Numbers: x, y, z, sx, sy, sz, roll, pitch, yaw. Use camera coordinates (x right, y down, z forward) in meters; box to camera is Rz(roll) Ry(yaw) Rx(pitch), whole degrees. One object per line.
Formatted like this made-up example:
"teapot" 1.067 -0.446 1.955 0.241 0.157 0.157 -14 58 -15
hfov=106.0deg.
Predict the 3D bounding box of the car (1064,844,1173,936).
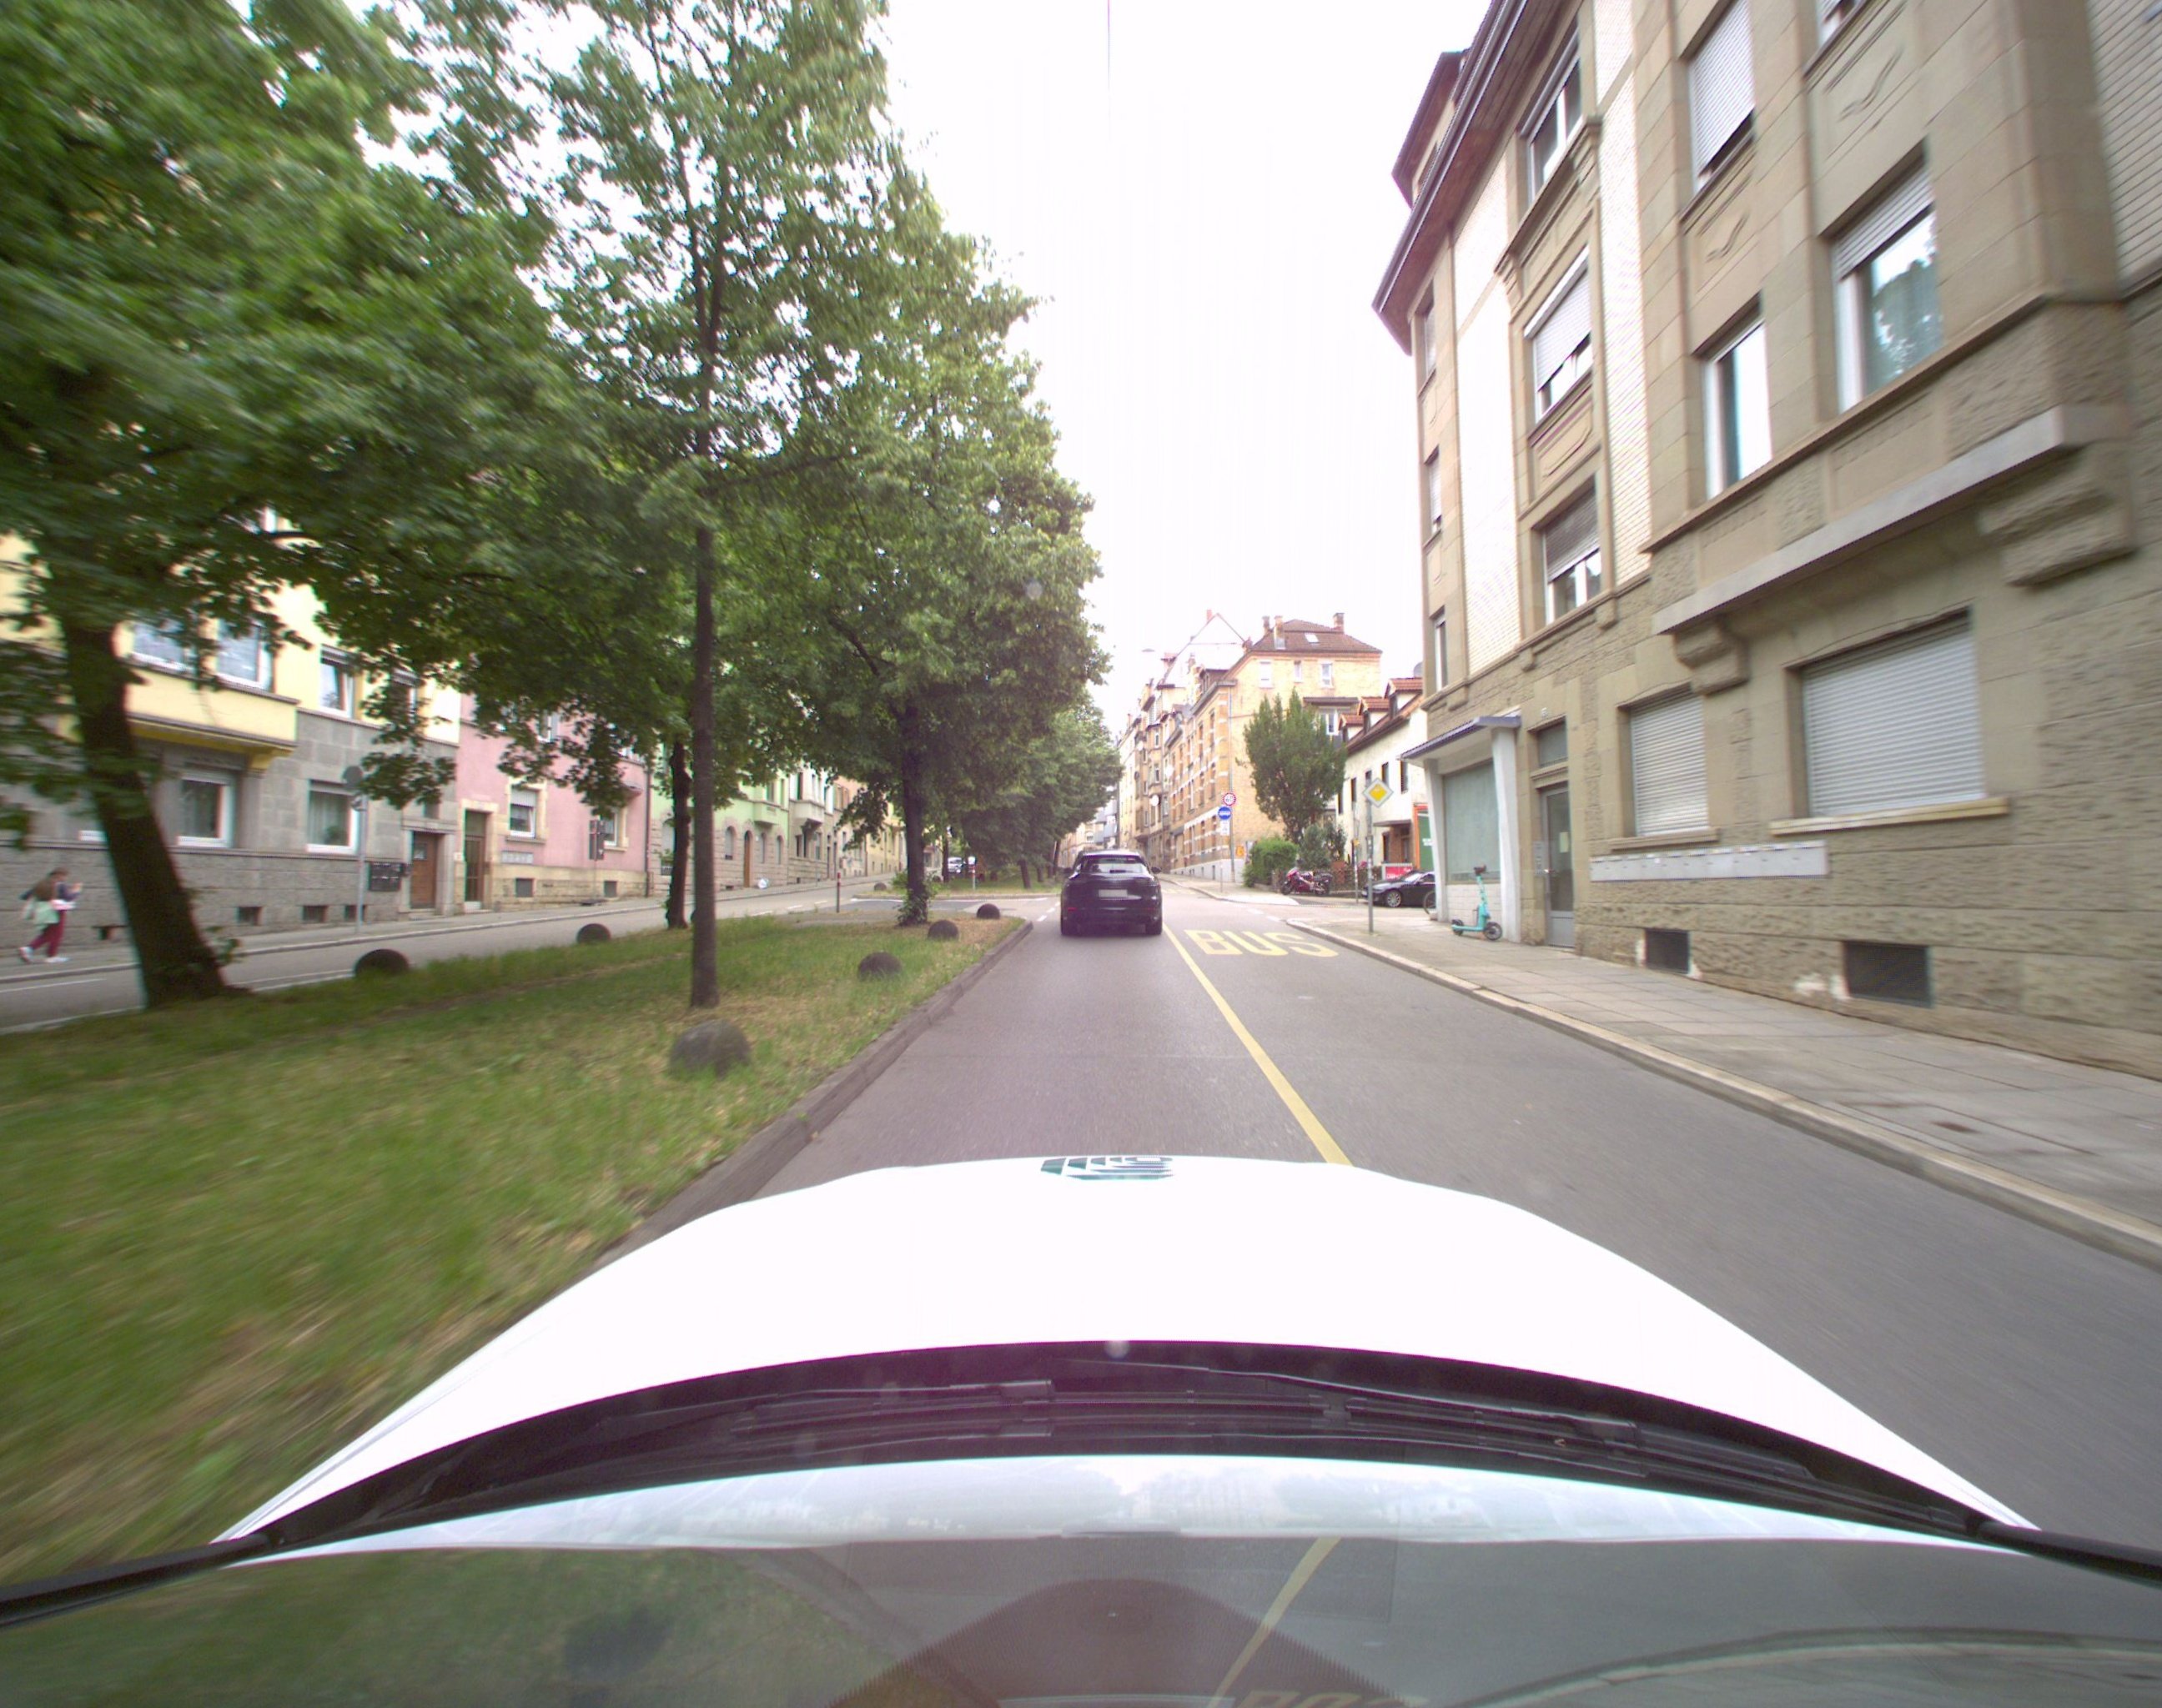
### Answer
"car" 0.688 0.669 16.959 1.987 1.665 3.999 1 0 0

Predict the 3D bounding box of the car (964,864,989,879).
"car" -10.880 1.764 85.124 1.751 1.382 4.671 -2 0 2

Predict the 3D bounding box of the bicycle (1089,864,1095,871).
"bicycle" 1.646 1.998 120.561 0.287 0.931 1.750 1 -3 -18

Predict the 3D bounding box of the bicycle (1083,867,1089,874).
"bicycle" 0.886 2.950 142.981 0.878 1.129 2.972 0 -3 -6

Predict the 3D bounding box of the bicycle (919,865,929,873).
"bicycle" -22.033 2.058 114.442 0.766 1.085 2.019 2 -3 -27

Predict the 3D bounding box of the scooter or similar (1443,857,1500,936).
"scooter or similar" 6.600 0.697 13.816 0.408 1.210 1.146 -3 2 2

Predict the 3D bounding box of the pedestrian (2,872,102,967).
"pedestrian" -16.461 1.021 13.042 0.696 1.460 0.704 0 0 2

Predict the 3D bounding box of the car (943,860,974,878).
"car" -10.324 1.257 69.018 1.702 1.382 4.671 -2 0 2

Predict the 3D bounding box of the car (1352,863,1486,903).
"car" 12.169 1.031 29.457 4.112 1.285 1.783 0 3 -1

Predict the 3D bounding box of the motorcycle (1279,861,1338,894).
"motorcycle" 8.960 0.919 32.124 2.050 1.268 1.009 1 -1 -3

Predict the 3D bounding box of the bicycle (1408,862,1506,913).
"bicycle" 9.172 0.844 19.947 0.645 1.140 2.049 5 -8 -42

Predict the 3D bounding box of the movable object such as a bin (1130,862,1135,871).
"movable object such as a bin" 5.805 1.398 91.872 0.593 0.904 0.502 0 -5 -4

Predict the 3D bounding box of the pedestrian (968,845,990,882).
"pedestrian" -5.004 0.474 39.943 0.830 1.712 1.123 -4 -3 1
